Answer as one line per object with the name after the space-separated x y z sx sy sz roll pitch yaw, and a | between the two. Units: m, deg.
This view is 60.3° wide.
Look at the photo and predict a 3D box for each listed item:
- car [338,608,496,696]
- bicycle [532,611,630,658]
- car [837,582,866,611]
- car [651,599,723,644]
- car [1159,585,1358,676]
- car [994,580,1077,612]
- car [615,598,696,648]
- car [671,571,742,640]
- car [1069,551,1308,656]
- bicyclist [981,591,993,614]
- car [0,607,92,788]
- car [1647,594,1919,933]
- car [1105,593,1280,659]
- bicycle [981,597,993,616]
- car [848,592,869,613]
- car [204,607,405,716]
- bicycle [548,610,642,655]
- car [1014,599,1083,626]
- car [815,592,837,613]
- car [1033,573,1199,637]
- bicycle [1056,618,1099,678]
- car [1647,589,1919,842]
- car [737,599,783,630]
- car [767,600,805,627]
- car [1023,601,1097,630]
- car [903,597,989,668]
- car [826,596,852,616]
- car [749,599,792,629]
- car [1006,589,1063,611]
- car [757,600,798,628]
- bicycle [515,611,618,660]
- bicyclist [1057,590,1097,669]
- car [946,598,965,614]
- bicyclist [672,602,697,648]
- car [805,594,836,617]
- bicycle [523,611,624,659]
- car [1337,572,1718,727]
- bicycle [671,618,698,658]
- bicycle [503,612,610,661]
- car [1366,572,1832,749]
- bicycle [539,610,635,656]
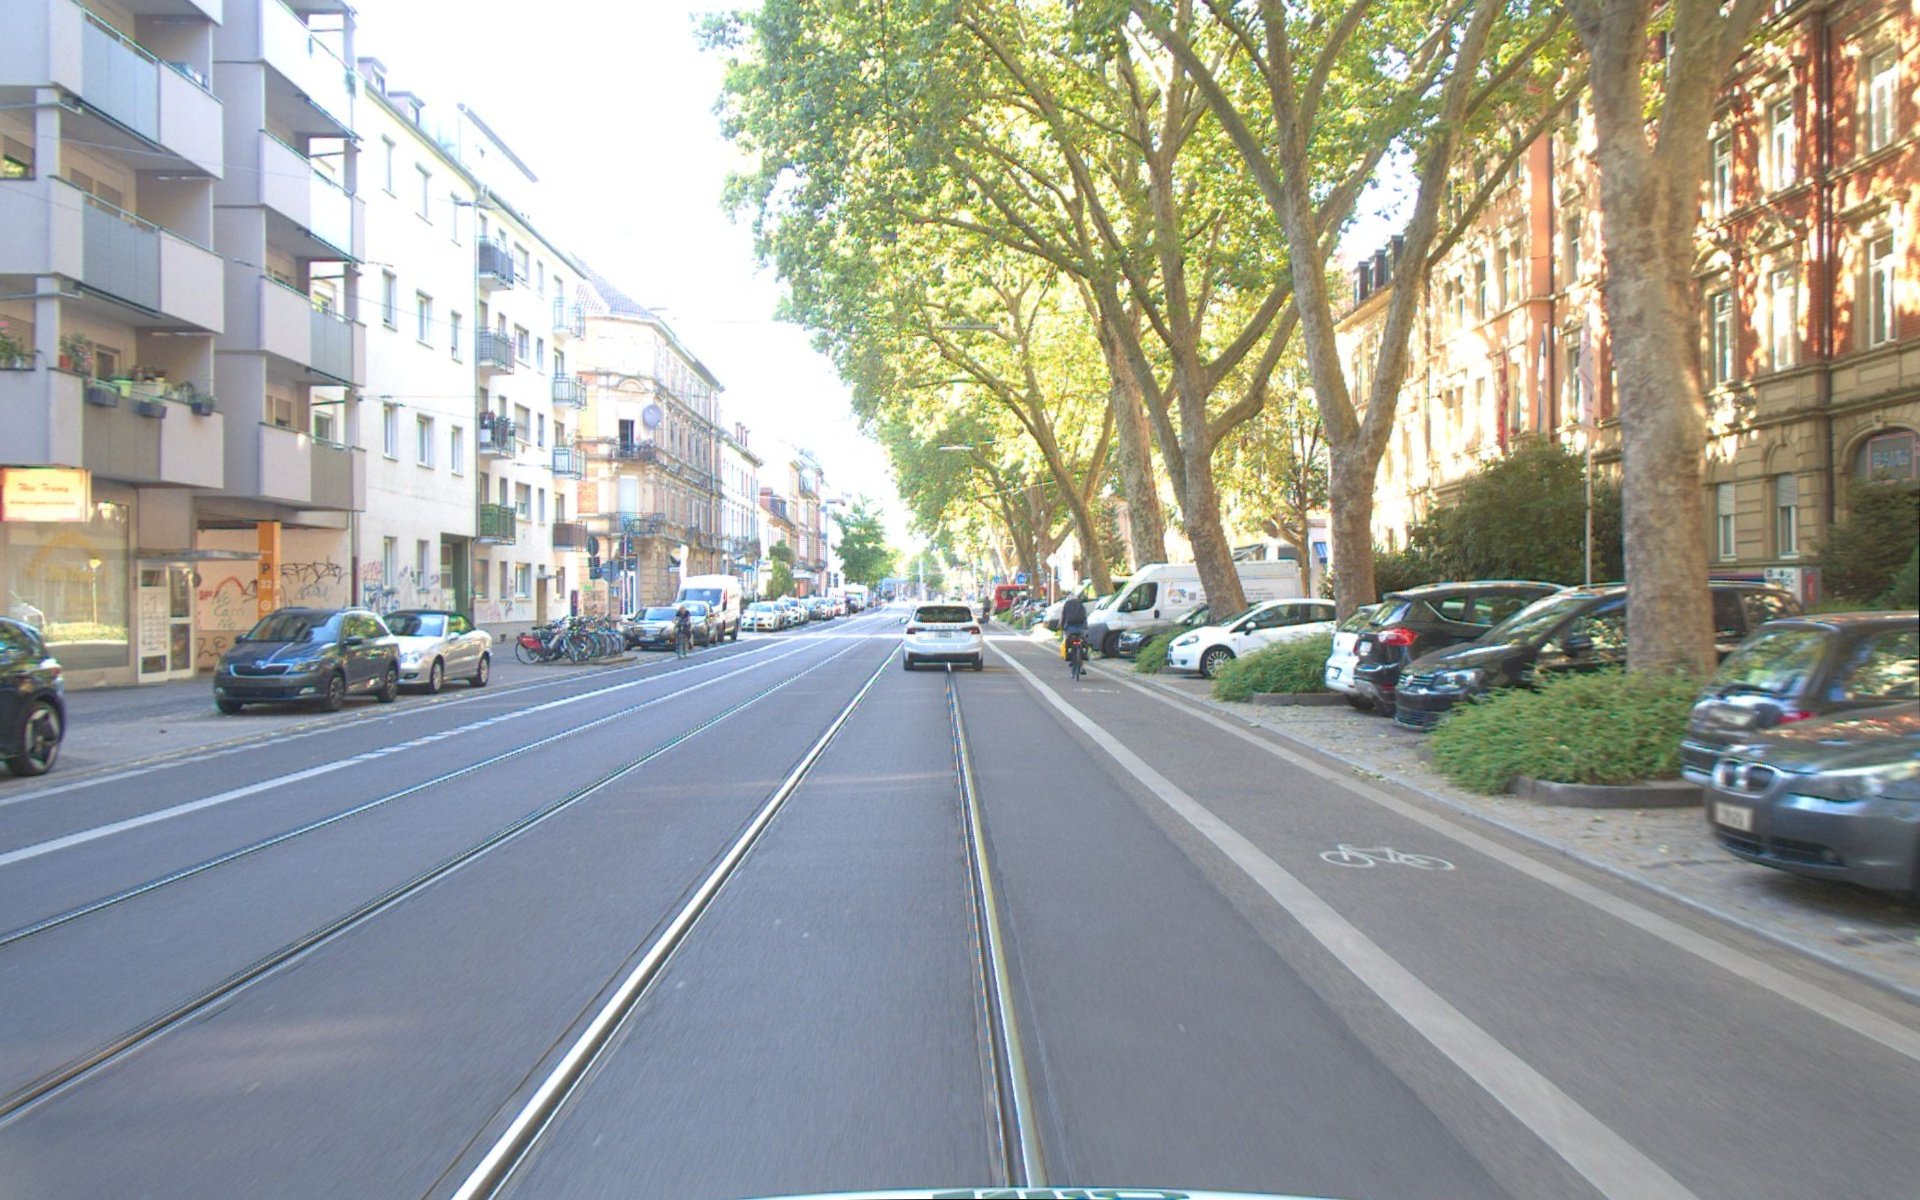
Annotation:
-9.683 0.887 29.799 1.454 1.428 3.991 0 0 1 | car
-10.238 0.926 44.700 2.476 1.193 0.718 2 -2 -6 | bicycle
-12.366 -0.330 188.555 2.908 3.211 5.846 1 0 -1 | car
-9.823 0.761 59.764 1.953 1.557 3.999 0 0 -1 | car
5.752 0.570 32.161 3.559 1.695 1.822 -1 0 1 | car
5.615 -0.278 123.272 6.008 2.322 2.528 -1 0 -3 | car
-9.889 0.730 53.982 1.953 1.557 3.999 0 0 -1 | car
-10.014 0.210 65.705 2.134 2.642 4.948 0 0 -1 | car
6.061 0.085 44.422 6.008 2.681 2.528 -1 0 -3 | car
1.634 0.149 99.886 0.636 1.367 0.934 -1 0 -3 | bicyclist
-9.384 0.867 14.167 1.668 1.571 4.241 2 0 -1 | car
6.019 0.733 8.638 4.059 1.540 1.930 -1 0 -2 | car
5.805 0.638 41.576 3.972 1.567 1.997 -1 0 -7 | car
1.636 0.395 100.000 0.636 1.089 1.582 -1 0 -3 | bicycle
-10.424 0.240 169.611 1.953 2.049 3.999 0 0 -1 | car
-9.709 0.863 24.783 1.620 1.462 3.835 0 0 -3 | car
-10.265 0.930 46.603 2.477 1.193 0.718 2 -2 -7 | bicycle
5.263 0.724 99.044 3.967 1.567 1.999 -1 0 -1 | car
-13.527 0.252 167.077 1.953 2.049 3.999 0 0 -1 | car
5.900 0.179 63.038 6.008 2.322 2.528 -1 0 -3 | car
2.245 0.899 31.708 0.667 1.089 1.780 -1 0 0 | bicycle
6.926 0.690 11.096 3.907 1.540 1.760 -1 0 -2 | car
-10.391 0.722 86.025 1.953 1.557 3.999 0 0 -1 | car
-10.497 0.811 99.986 1.953 1.557 3.999 0 0 -1 | car
5.542 0.863 92.106 3.967 1.567 1.999 -1 0 -1 | car
-0.307 0.663 35.834 1.726 1.408 3.999 -1 0 -1 | car
-10.417 0.531 142.503 1.953 1.669 3.999 1 0 -1 | car
-10.319 0.750 90.254 1.953 1.557 3.999 0 0 -1 | car
5.294 0.008 118.560 3.967 1.567 1.999 -1 0 -1 | car
-10.506 0.780 95.177 1.953 1.557 3.999 0 0 -1 | car
-10.170 0.932 42.826 2.477 1.193 0.718 2 -2 -7 | bicycle
2.236 0.554 31.652 0.664 1.468 1.047 -1 0 0 | bicyclist
-0.406 0.545 154.153 1.725 1.501 4.000 -1 0 0 | car
-7.933 0.720 47.660 0.585 1.308 0.916 -1 0 -4 | bicyclist
-10.284 0.401 122.029 1.953 1.669 3.999 1 0 -1 | car
-10.199 0.930 43.712 2.476 1.193 0.718 2 -2 -6 | bicycle
6.622 0.550 19.566 3.907 1.709 1.723 -1 0 -2 | car
-7.923 1.089 47.655 0.593 1.089 1.582 -1 0 -3 | bicycle
-10.218 0.929 41.943 2.510 1.193 0.870 3 -2 -41 | bicycle
6.549 0.589 17.258 4.149 1.695 1.847 -1 0 -2 | car
-10.254 0.924 45.549 2.476 1.193 0.718 2 -2 -6 | bicycle
